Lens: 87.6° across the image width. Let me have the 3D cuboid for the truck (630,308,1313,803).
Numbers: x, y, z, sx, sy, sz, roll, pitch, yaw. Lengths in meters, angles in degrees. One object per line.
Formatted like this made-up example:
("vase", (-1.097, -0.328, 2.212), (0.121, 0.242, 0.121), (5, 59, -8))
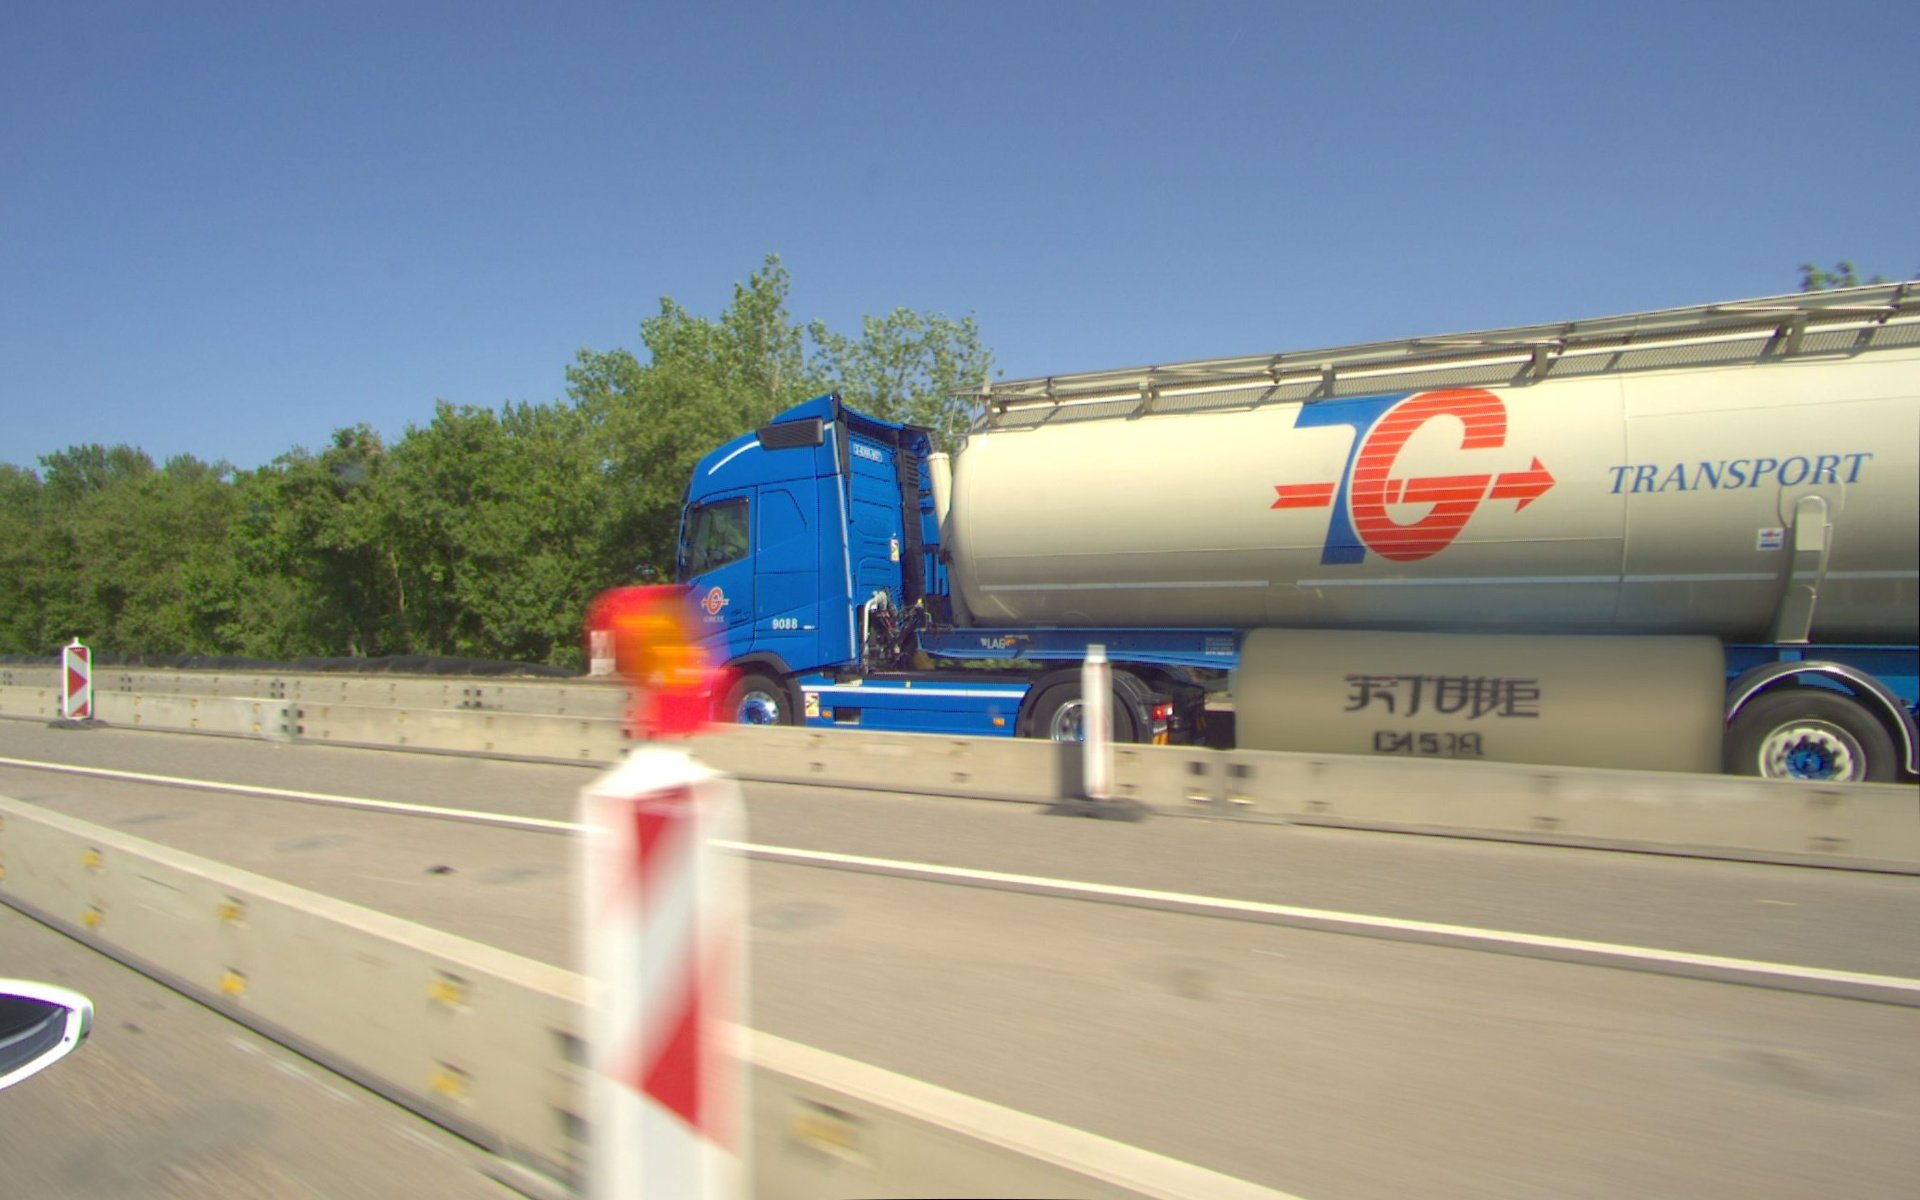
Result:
("truck", (0.008, -0.309, 11.206), (7.183, 4.156, 2.694), (-1, 0, 26))

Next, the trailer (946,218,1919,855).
("trailer", (6.021, -0.386, 8.237), (12.412, 4.191, 2.693), (-1, 0, 26))
